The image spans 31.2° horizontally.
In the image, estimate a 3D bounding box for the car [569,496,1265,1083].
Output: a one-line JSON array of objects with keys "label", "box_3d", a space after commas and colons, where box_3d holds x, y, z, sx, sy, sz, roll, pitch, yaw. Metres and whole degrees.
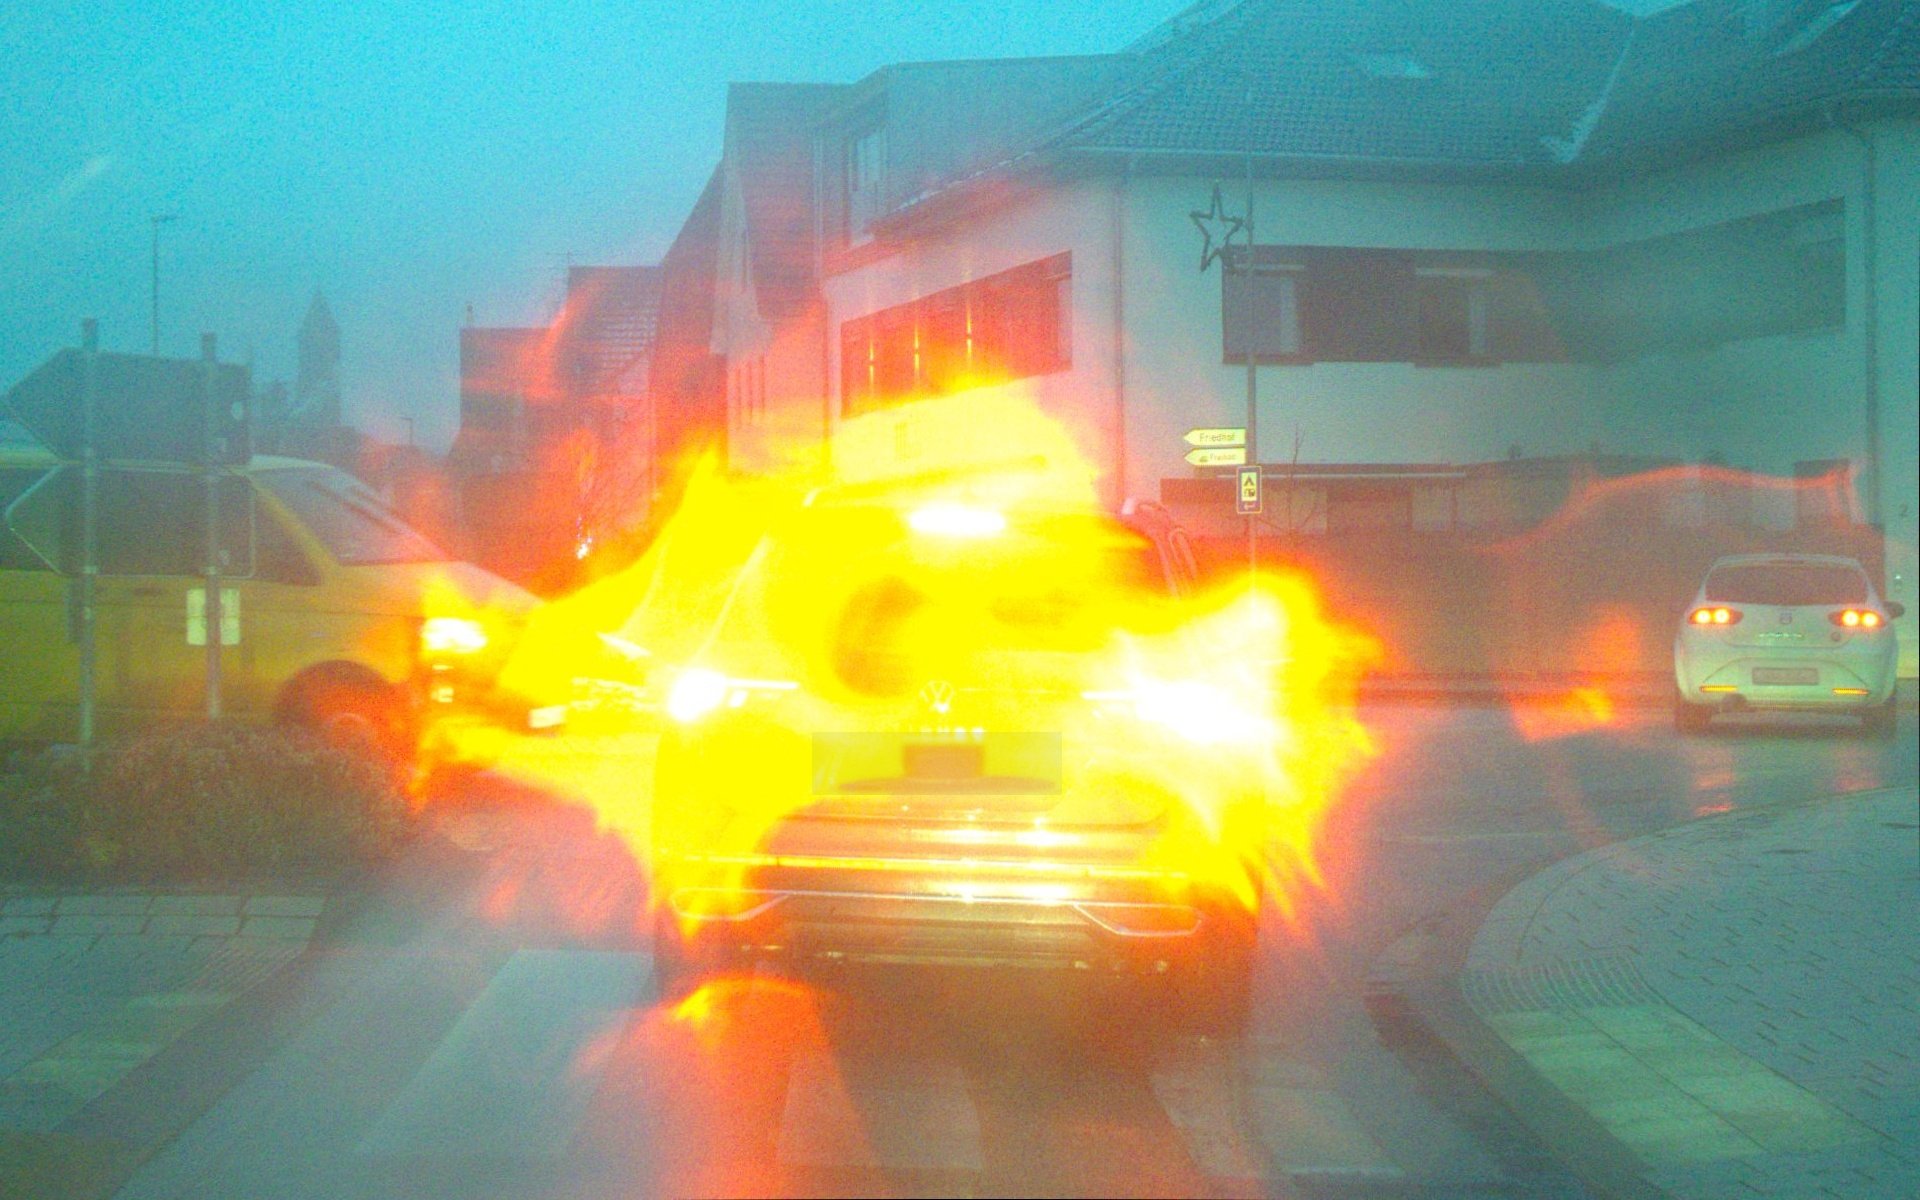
[{"label": "car", "box_3d": [-0.078, 0.490, 11.477, 1.916, 1.609, 3.950, 0, 1, 1]}]

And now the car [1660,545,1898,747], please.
[{"label": "car", "box_3d": [6.757, 0.322, 28.415, 1.779, 1.533, 3.930, 0, 1, 13]}]

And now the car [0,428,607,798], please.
[{"label": "car", "box_3d": [-4.730, 0.052, 20.219, 4.887, 2.007, 1.999, 0, 0, 14]}]
